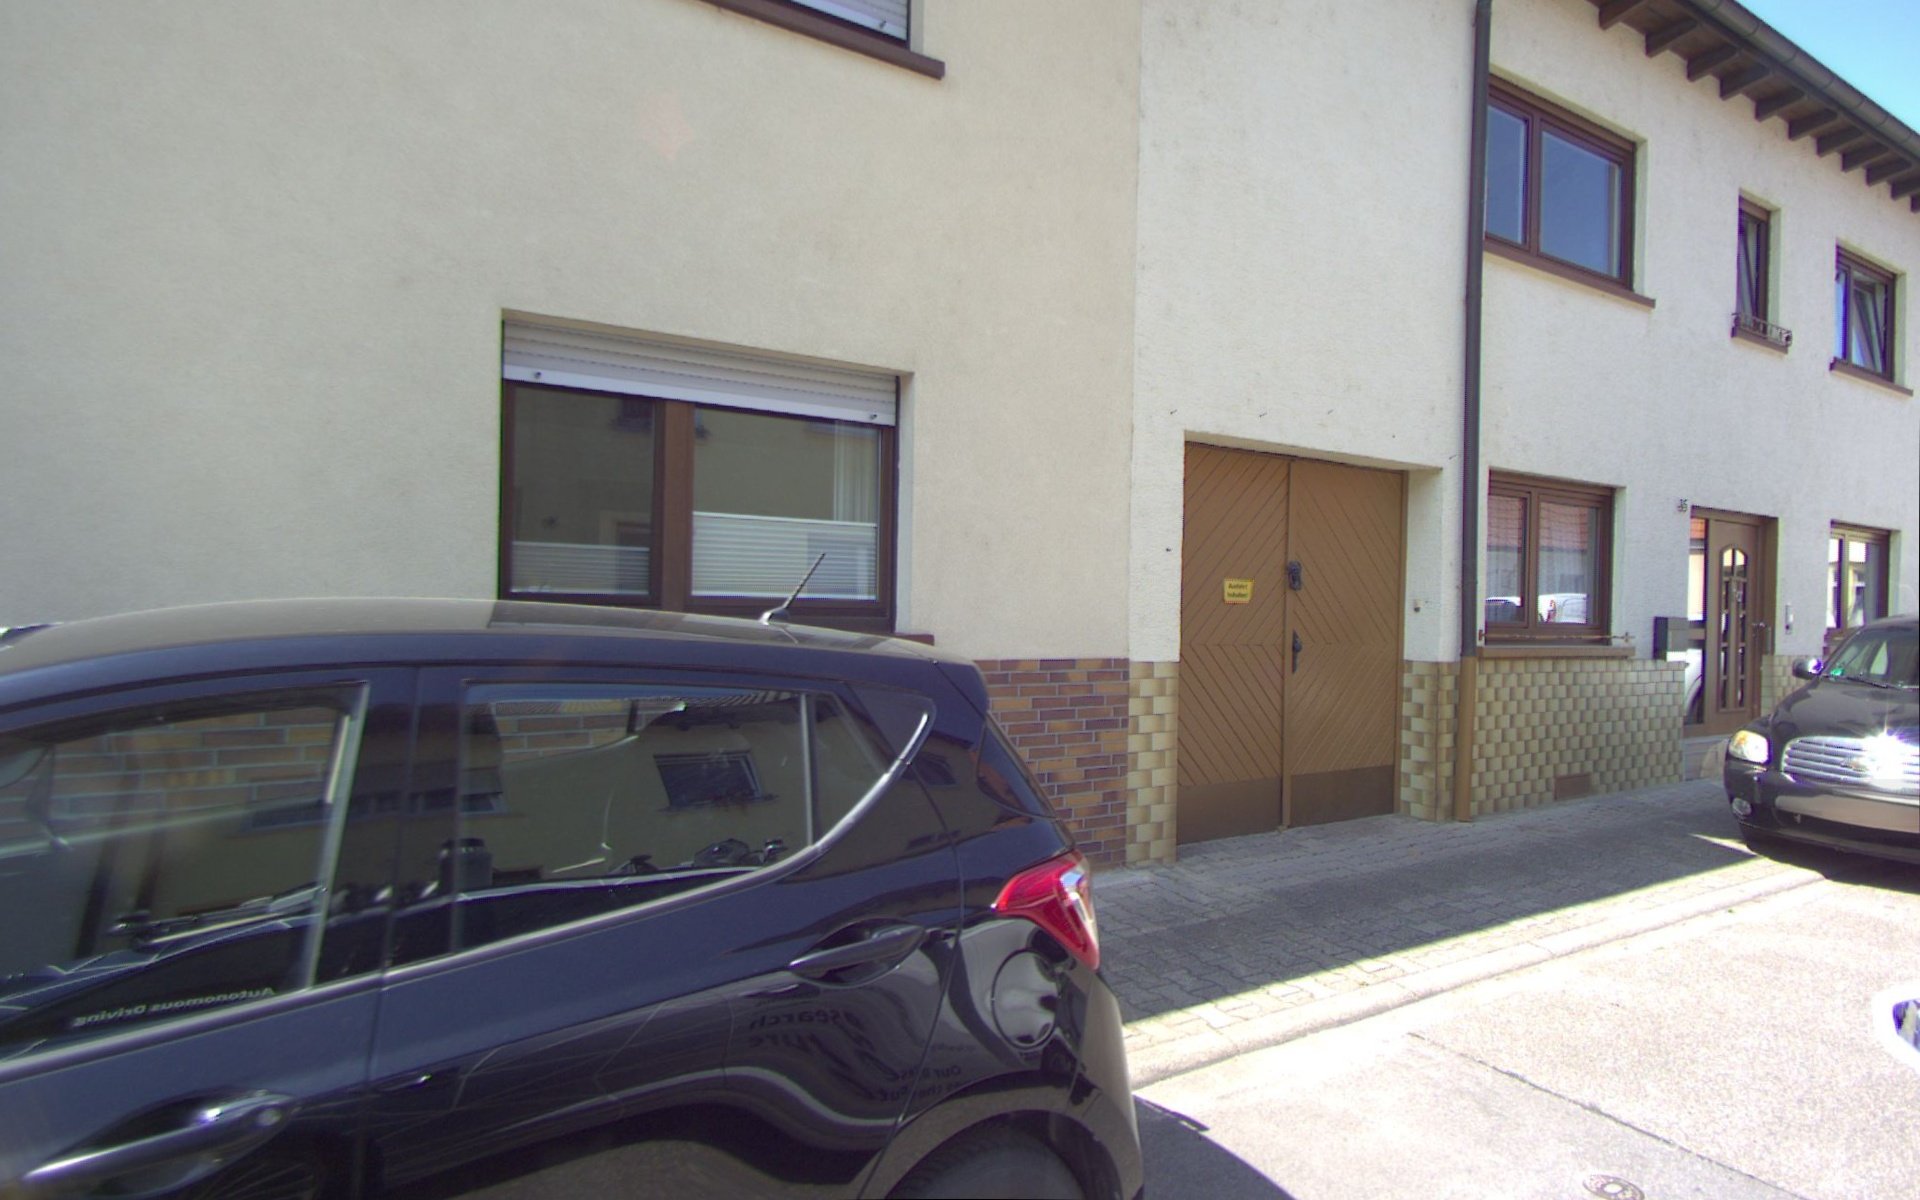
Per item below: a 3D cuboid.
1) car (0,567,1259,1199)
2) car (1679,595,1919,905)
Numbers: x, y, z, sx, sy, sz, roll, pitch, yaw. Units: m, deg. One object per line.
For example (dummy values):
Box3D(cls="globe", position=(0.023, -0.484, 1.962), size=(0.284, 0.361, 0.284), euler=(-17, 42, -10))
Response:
Box3D(cls="car", position=(-1.478, 0.757, 1.650), size=(3.899, 1.558, 1.631), euler=(1, -1, -32))
Box3D(cls="car", position=(6.655, 0.837, 6.547), size=(3.941, 1.636, 1.715), euler=(1, -1, -29))
